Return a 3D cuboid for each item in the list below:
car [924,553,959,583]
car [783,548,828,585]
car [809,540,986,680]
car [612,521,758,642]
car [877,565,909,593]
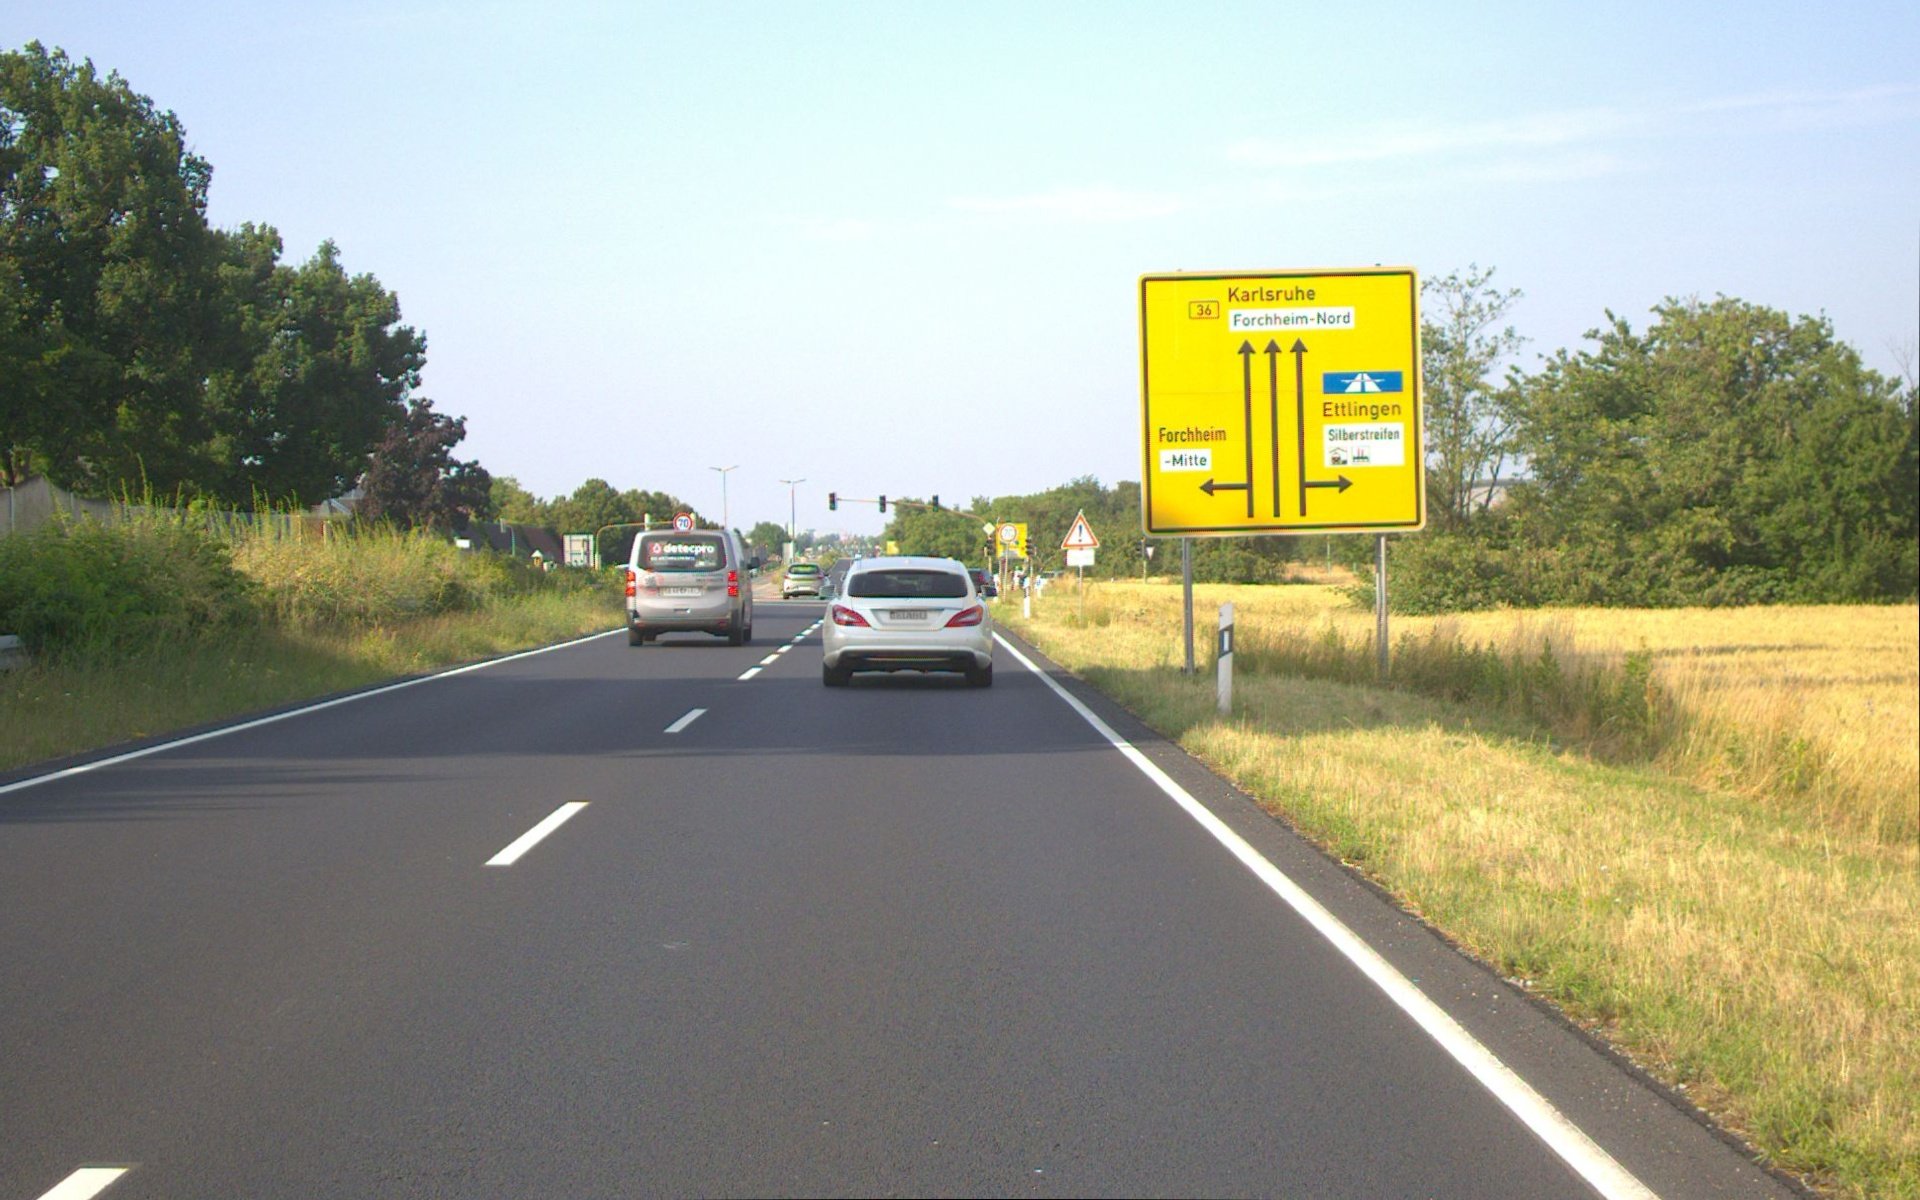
[{"bbox_3d":[-0.991,-1.676,180.622,1.754,1.511,4.000,-1,1,-1],"label":"car"},{"bbox_3d":[-6.246,-1.356,139.143,1.717,1.487,3.585,1,1,-1],"label":"car"},{"bbox_3d":[-0.724,0.086,38.839,1.894,1.503,4.000,0,1,-2],"label":"car"},{"bbox_3d":[-4.475,-0.345,56.597,2.025,1.885,4.959,1,1,-1],"label":"car"},{"bbox_3d":[-4.148,-1.300,213.876,1.839,1.678,4.000,1,1,1],"label":"car"}]
